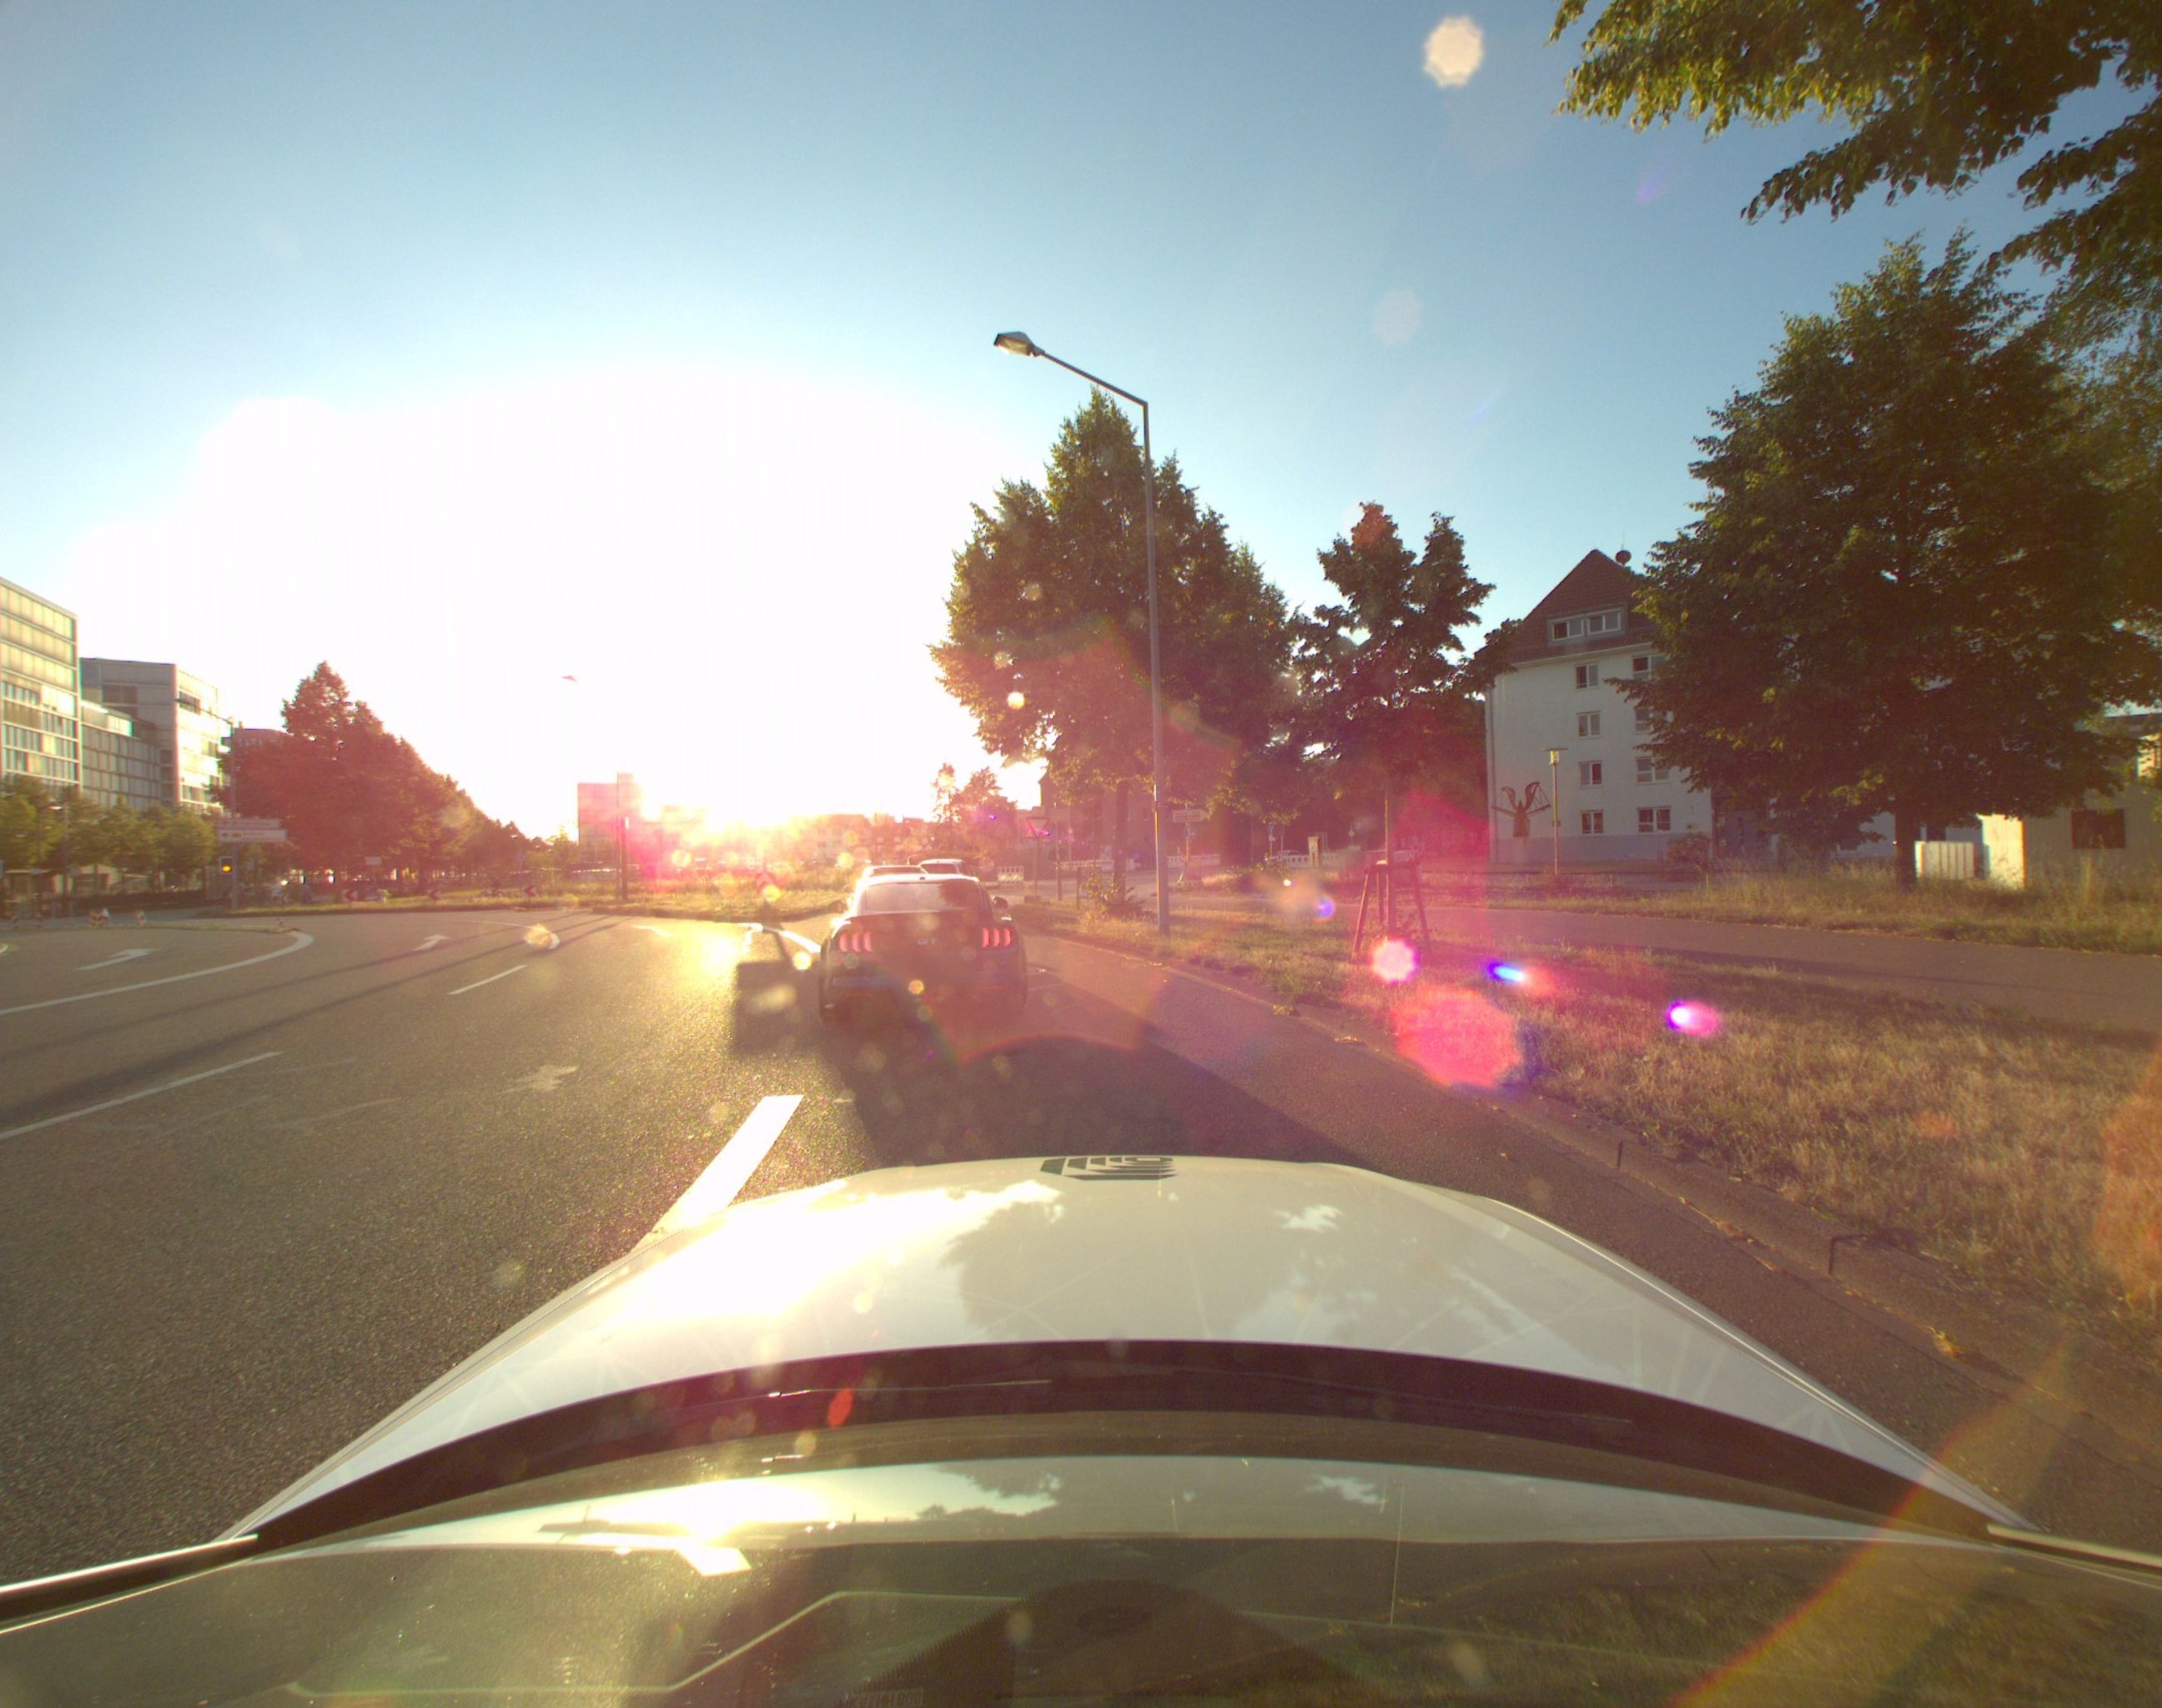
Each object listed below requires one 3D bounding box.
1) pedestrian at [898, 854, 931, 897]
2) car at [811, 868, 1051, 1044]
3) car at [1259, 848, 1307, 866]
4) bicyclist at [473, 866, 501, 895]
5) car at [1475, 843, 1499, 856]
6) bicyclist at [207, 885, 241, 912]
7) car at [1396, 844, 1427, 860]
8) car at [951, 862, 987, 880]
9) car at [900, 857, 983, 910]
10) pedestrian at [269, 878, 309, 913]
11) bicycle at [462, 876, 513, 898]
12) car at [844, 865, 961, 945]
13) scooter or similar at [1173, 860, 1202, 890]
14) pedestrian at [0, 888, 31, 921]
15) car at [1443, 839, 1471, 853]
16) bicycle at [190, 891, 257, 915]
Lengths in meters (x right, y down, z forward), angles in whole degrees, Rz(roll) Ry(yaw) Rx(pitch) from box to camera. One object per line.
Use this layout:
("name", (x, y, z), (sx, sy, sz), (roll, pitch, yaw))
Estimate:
("pedestrian", (-6.688, 0.860, 32.726), (0.875, 1.686, 0.852), (-2, 0, 36))
("car", (-1.805, 0.853, 9.018), (1.955, 1.342, 4.646), (-1, 0, -15))
("car", (18.094, 0.230, 72.920), (2.050, 1.452, 4.684), (5, 4, 44))
("bicyclist", (-33.185, 1.482, 45.526), (0.970, 1.612, 0.756), (-2, -1, 6))
("car", (54.049, -0.599, 108.470), (1.932, 1.602, 4.103), (-1, 0, 40))
("bicyclist", (-45.936, 2.365, 43.660), (0.977, 1.394, 0.751), (-2, -1, -15))
("car", (33.821, -0.197, 83.304), (1.932, 1.602, 4.103), (-1, 0, 38))
("car", (-11.151, 1.697, 80.685), (2.008, 1.706, 3.958), (-1, -1, -33))
("car", (-4.610, 0.939, 27.519), (1.944, 1.602, 4.079), (-2, 0, 1))
("pedestrian", (-43.222, 2.278, 44.458), (1.158, 1.827, 0.976), (-2, -1, -10))
("bicycle", (-33.191, 1.841, 45.540), (2.389, 1.167, 0.756), (-2, 0, 6))
("car", (-3.838, 0.960, 16.954), (1.957, 1.427, 4.402), (1, -1, -18))
("scooter or similar", (4.540, 0.891, 34.624), (1.121, 1.238, 0.440), (-1, 0, -13))
("pedestrian", (-56.703, 2.680, 43.304), (0.892, 1.707, 0.785), (-1, -1, -38))
("car", (44.897, -1.004, 97.211), (1.932, 1.602, 4.103), (-1, 0, 40))
("bicycle", (-45.946, 2.612, 43.673), (2.406, 1.167, 0.751), (-2, 0, -15))
